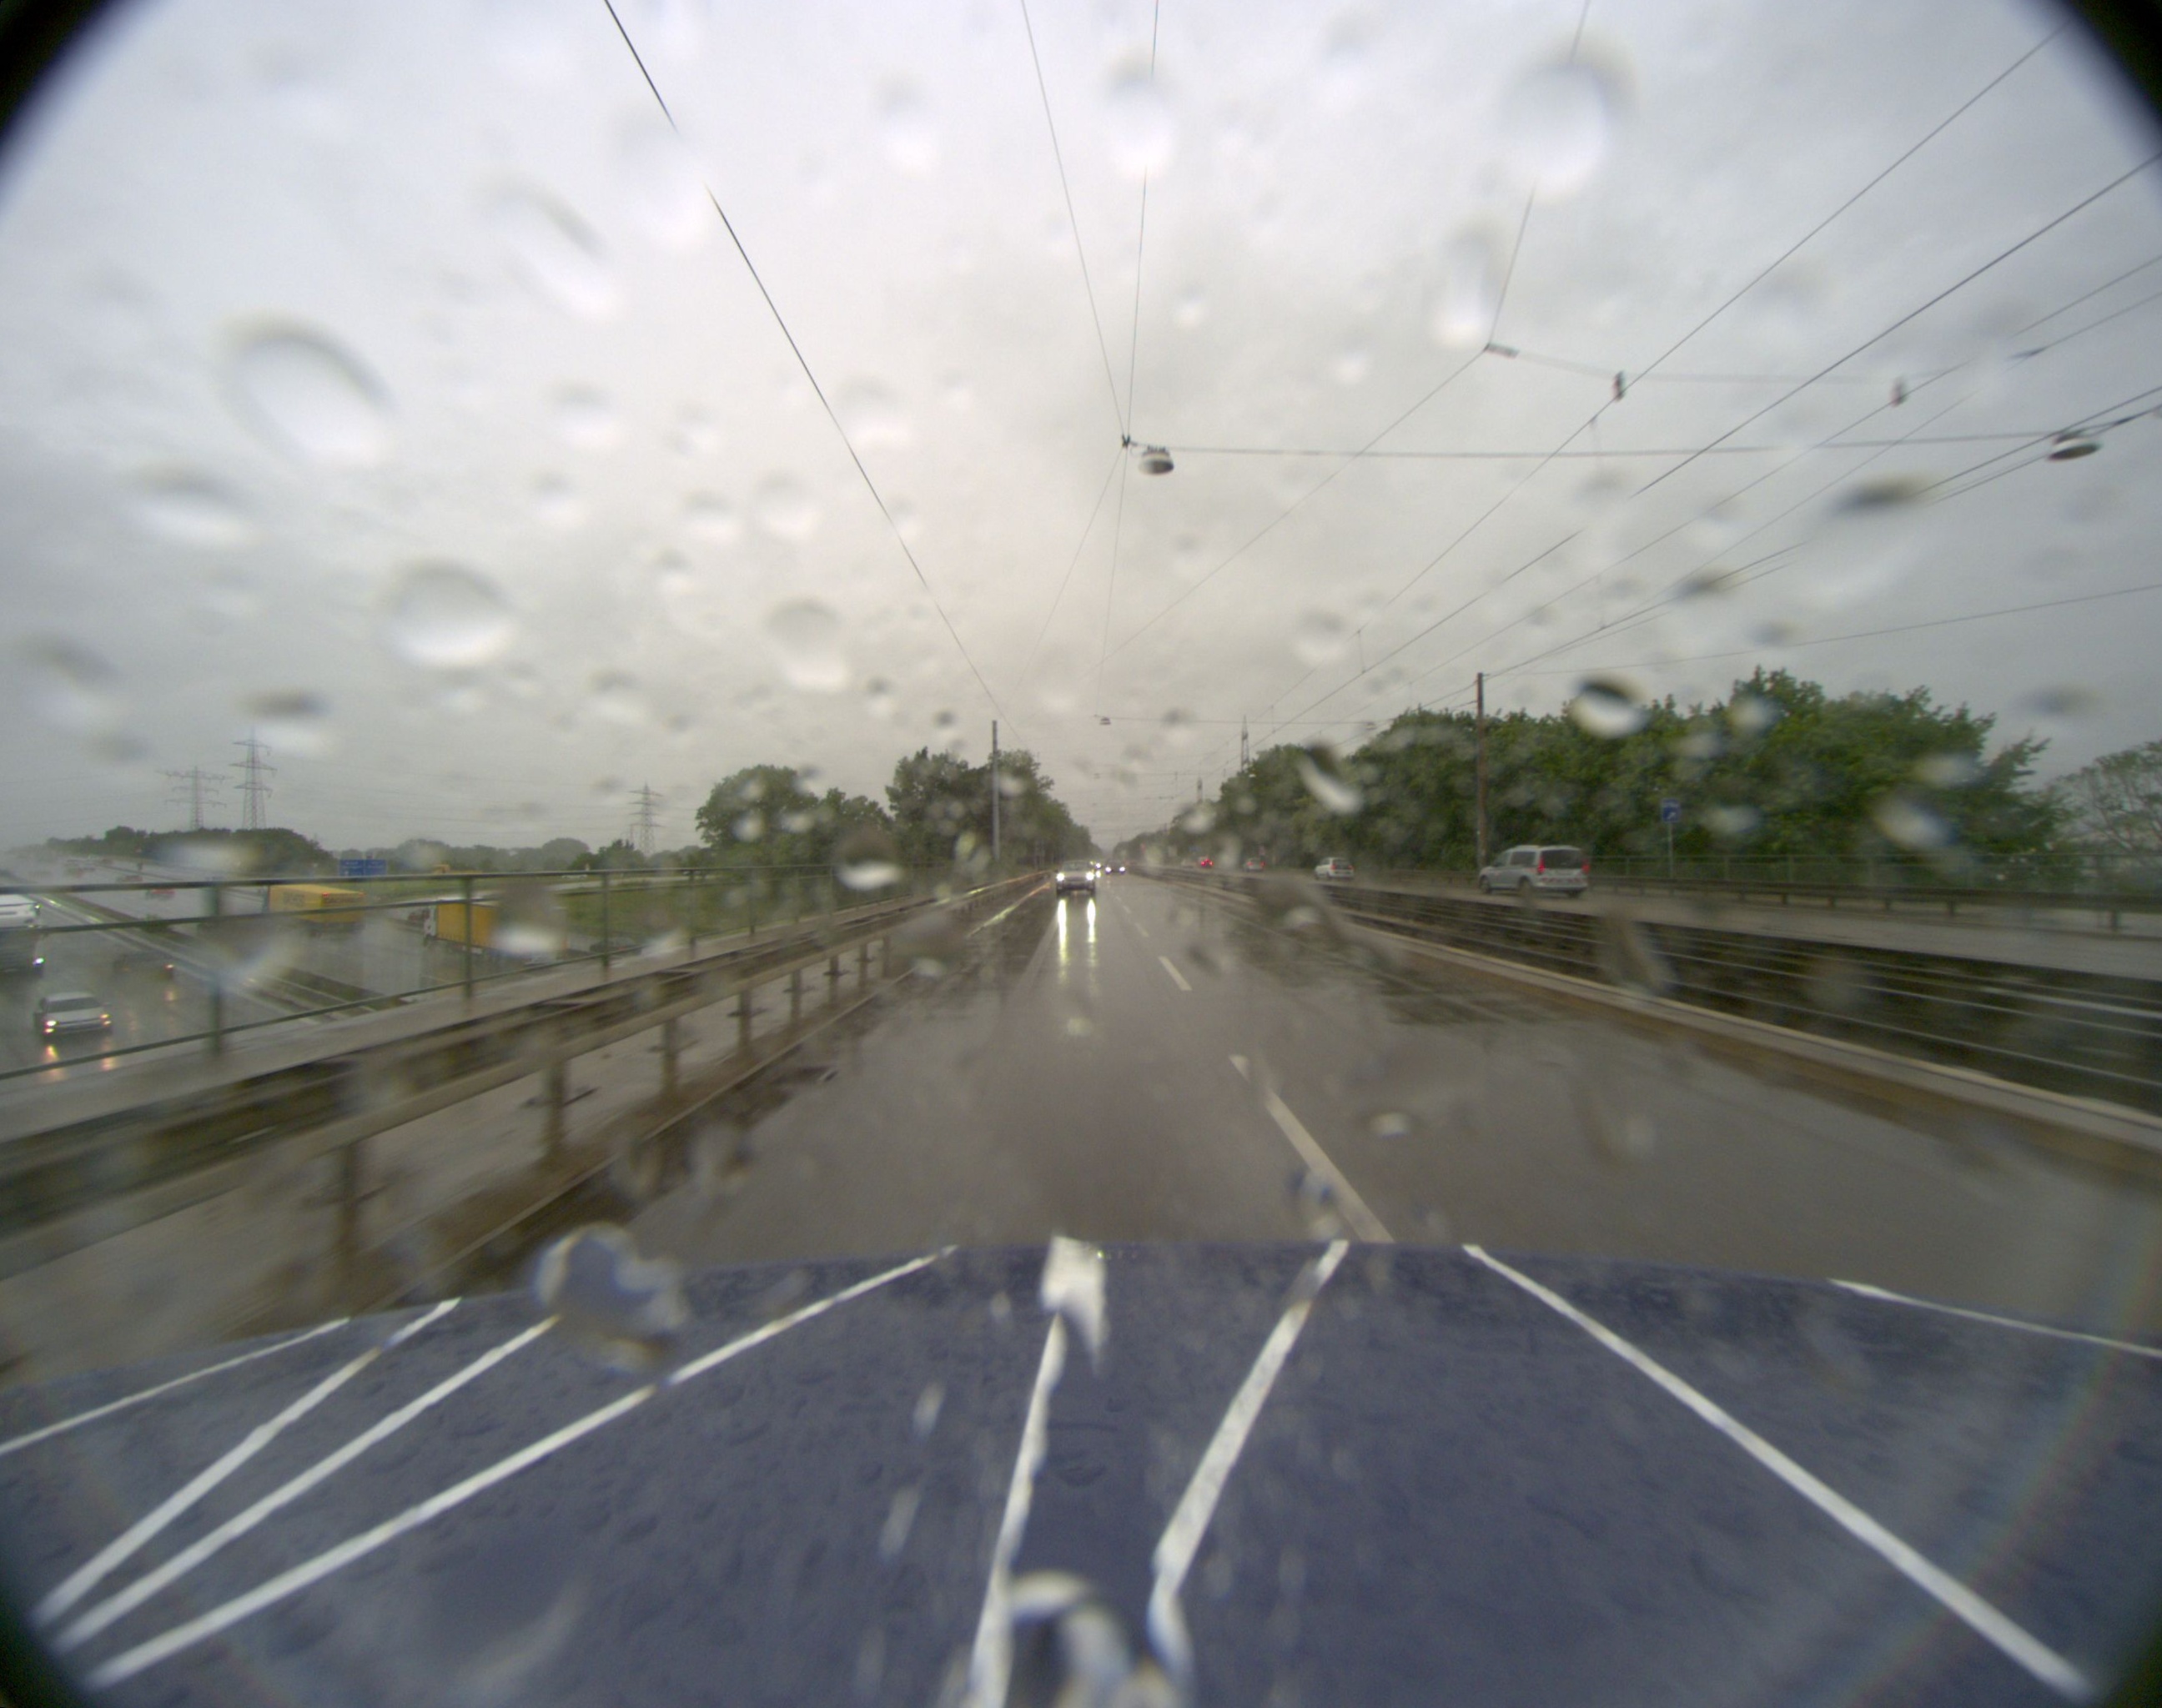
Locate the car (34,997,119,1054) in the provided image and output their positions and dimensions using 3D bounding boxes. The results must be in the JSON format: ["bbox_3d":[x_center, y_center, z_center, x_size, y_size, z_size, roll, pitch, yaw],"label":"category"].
[{"bbox_3d":[-42.723,7.226,32.297,3.988,1.491,1.809,1,4,33],"label":"car"}]

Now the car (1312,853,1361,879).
[{"bbox_3d":[17.330,0.793,51.733,1.998,1.608,4.000,-1,1,1],"label":"car"}]

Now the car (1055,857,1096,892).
[{"bbox_3d":[-0.203,0.885,34.116,1.750,1.412,4.000,0,1,1],"label":"car"}]

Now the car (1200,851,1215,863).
[{"bbox_3d":[23.288,0.567,140.008,2.190,2.091,4.146,-4,1,3],"label":"car"}]

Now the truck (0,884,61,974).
[{"bbox_3d":[-66.142,4.431,46.818,12.344,4.419,3.148,1,3,34],"label":"truck"}]

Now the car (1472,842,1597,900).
[{"bbox_3d":[16.276,0.556,27.583,1.853,1.821,4.393,-4,1,1],"label":"car"}]

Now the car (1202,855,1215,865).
[{"bbox_3d":[21.641,0.999,128.800,1.777,1.621,3.671,-4,1,5],"label":"car"}]

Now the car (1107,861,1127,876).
[{"bbox_3d":[3.804,1.513,80.749,1.971,1.412,4.000,0,1,1],"label":"car"}]

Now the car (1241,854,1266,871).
[{"bbox_3d":[19.669,0.914,86.776,1.837,1.701,4.661,-4,1,1],"label":"car"}]

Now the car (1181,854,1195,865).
[{"bbox_3d":[17.330,0.816,123.075,1.777,1.621,3.670,-4,1,1],"label":"car"}]

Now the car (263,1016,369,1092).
[{"bbox_3d":[-27.492,7.087,27.272,3.988,1.576,1.809,2,4,33],"label":"car"}]

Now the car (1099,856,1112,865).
[{"bbox_3d":[3.745,1.015,117.087,1.971,1.412,4.000,0,1,1],"label":"car"}]
